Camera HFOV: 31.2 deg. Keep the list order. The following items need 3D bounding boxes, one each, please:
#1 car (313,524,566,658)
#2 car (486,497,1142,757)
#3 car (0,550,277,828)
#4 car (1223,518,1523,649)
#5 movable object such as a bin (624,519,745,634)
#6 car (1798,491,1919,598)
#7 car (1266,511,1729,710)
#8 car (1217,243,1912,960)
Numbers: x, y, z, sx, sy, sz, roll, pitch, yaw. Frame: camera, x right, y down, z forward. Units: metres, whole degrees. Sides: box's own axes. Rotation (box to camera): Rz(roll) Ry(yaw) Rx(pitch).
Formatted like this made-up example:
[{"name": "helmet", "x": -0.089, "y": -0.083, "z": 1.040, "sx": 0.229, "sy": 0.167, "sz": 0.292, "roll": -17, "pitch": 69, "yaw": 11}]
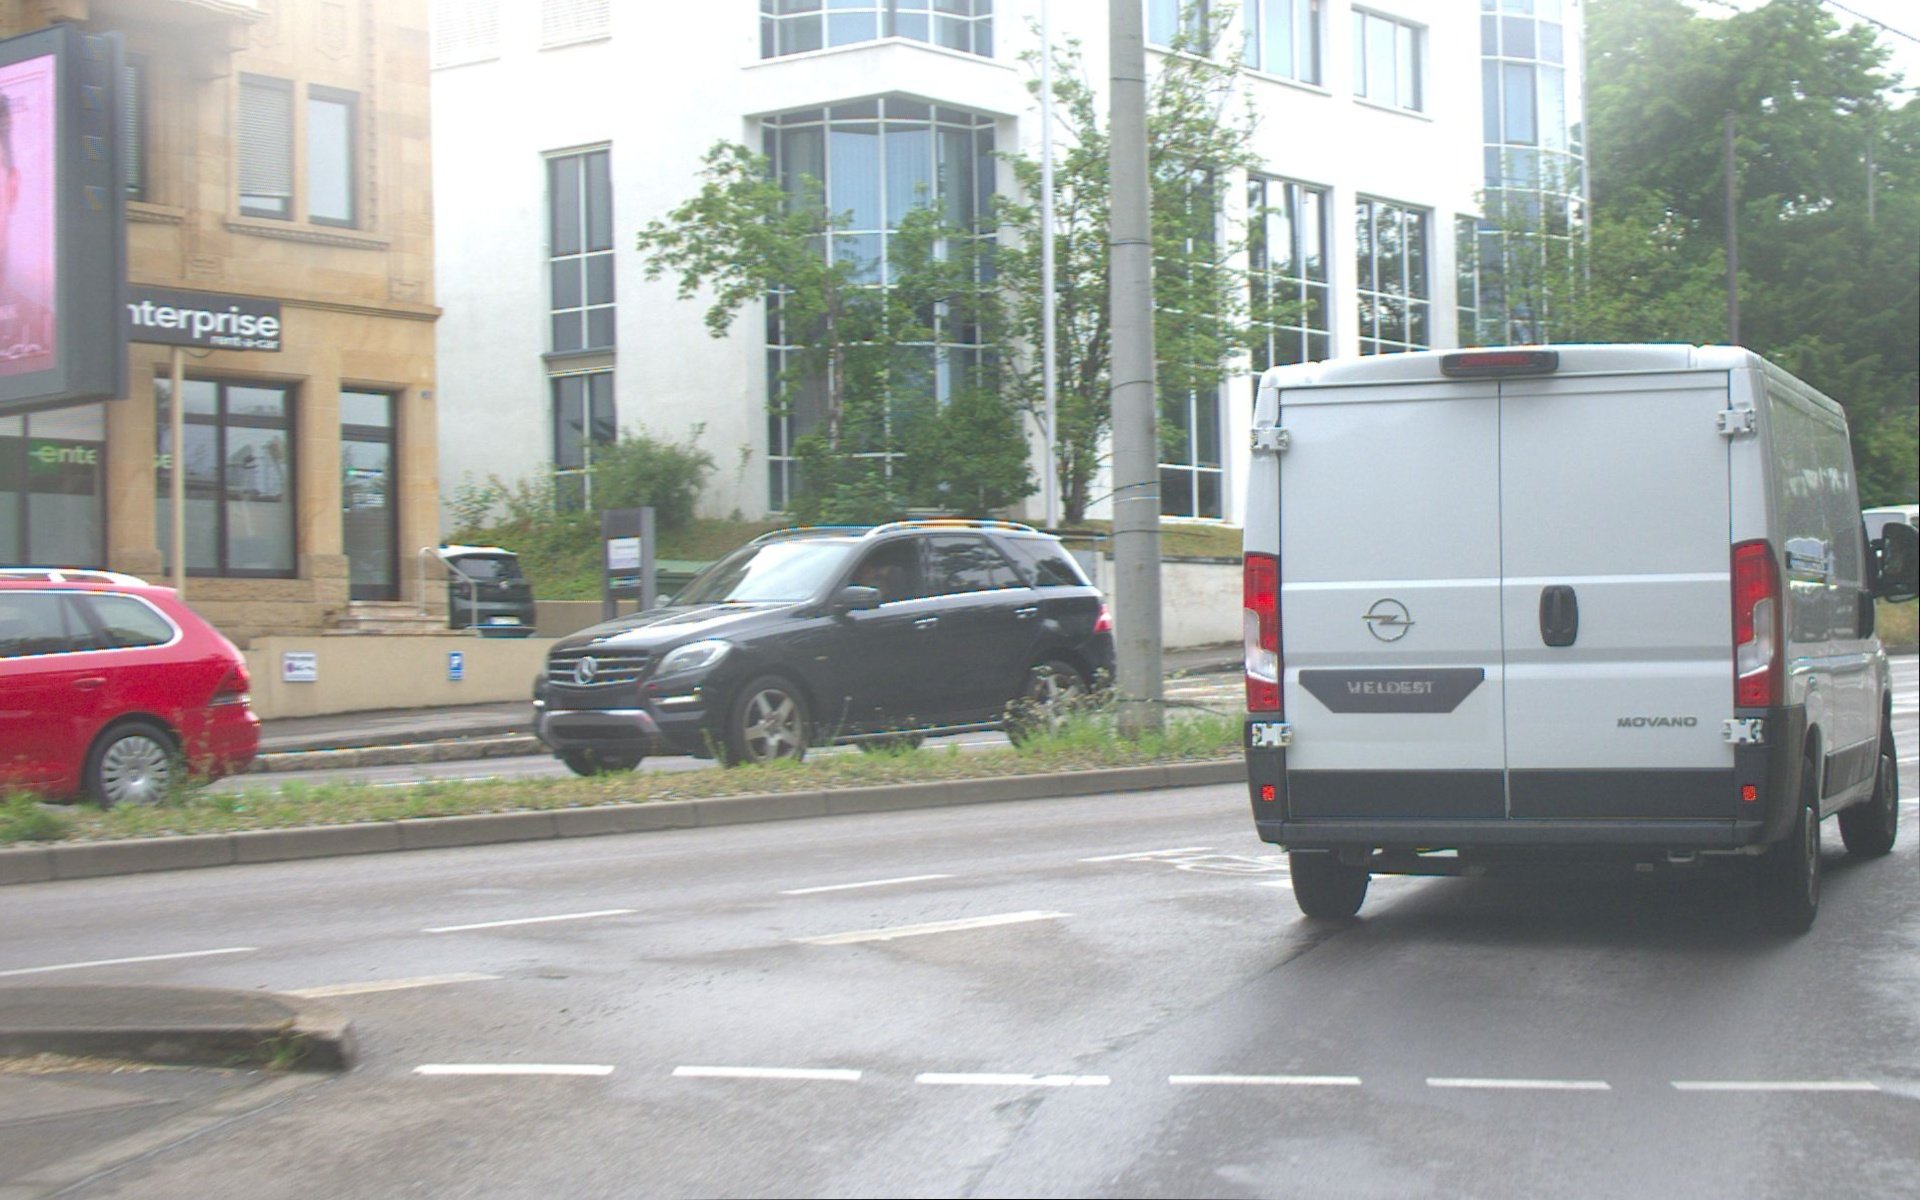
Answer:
[{"name": "car", "x": -7.006, "y": -0.090, "z": 46.213, "sx": 3.049, "sy": 1.670, "sz": 1.712, "roll": -2, "pitch": -2, "yaw": 38}, {"name": "car", "x": -0.955, "y": 0.158, "z": 24.763, "sx": 1.959, "sy": 1.691, "sz": 4.614, "roll": -3, "pitch": -1, "yaw": 43}, {"name": "car", "x": -6.171, "y": 0.511, "z": 19.144, "sx": 1.810, "sy": 1.526, "sz": 4.430, "roll": -3, "pitch": -2, "yaw": 42}, {"name": "car", "x": 5.623, "y": -0.246, "z": 46.320, "sx": 1.692, "sy": 1.529, "sz": 4.661, "roll": -3, "pitch": 1, "yaw": 40}, {"name": "movable object such as a bin", "x": -3.755, "y": -0.313, "z": 46.801, "sx": 1.247, "sy": 1.536, "sz": 1.038, "roll": -1, "pitch": -1, "yaw": 36}, {"name": "car", "x": 16.646, "y": -1.027, "z": 60.496, "sx": 1.774, "sy": 1.740, "sz": 4.573, "roll": -3, "pitch": 1, "yaw": 40}, {"name": "car", "x": 4.799, "y": 0.126, "z": 30.183, "sx": 1.692, "sy": 1.599, "sz": 4.717, "roll": -3, "pitch": -2, "yaw": 42}, {"name": "car", "x": 2.783, "y": -0.068, "z": 14.699, "sx": 2.052, "sy": 2.508, "sz": 4.939, "roll": 2, "pitch": 2, "yaw": 20}]
